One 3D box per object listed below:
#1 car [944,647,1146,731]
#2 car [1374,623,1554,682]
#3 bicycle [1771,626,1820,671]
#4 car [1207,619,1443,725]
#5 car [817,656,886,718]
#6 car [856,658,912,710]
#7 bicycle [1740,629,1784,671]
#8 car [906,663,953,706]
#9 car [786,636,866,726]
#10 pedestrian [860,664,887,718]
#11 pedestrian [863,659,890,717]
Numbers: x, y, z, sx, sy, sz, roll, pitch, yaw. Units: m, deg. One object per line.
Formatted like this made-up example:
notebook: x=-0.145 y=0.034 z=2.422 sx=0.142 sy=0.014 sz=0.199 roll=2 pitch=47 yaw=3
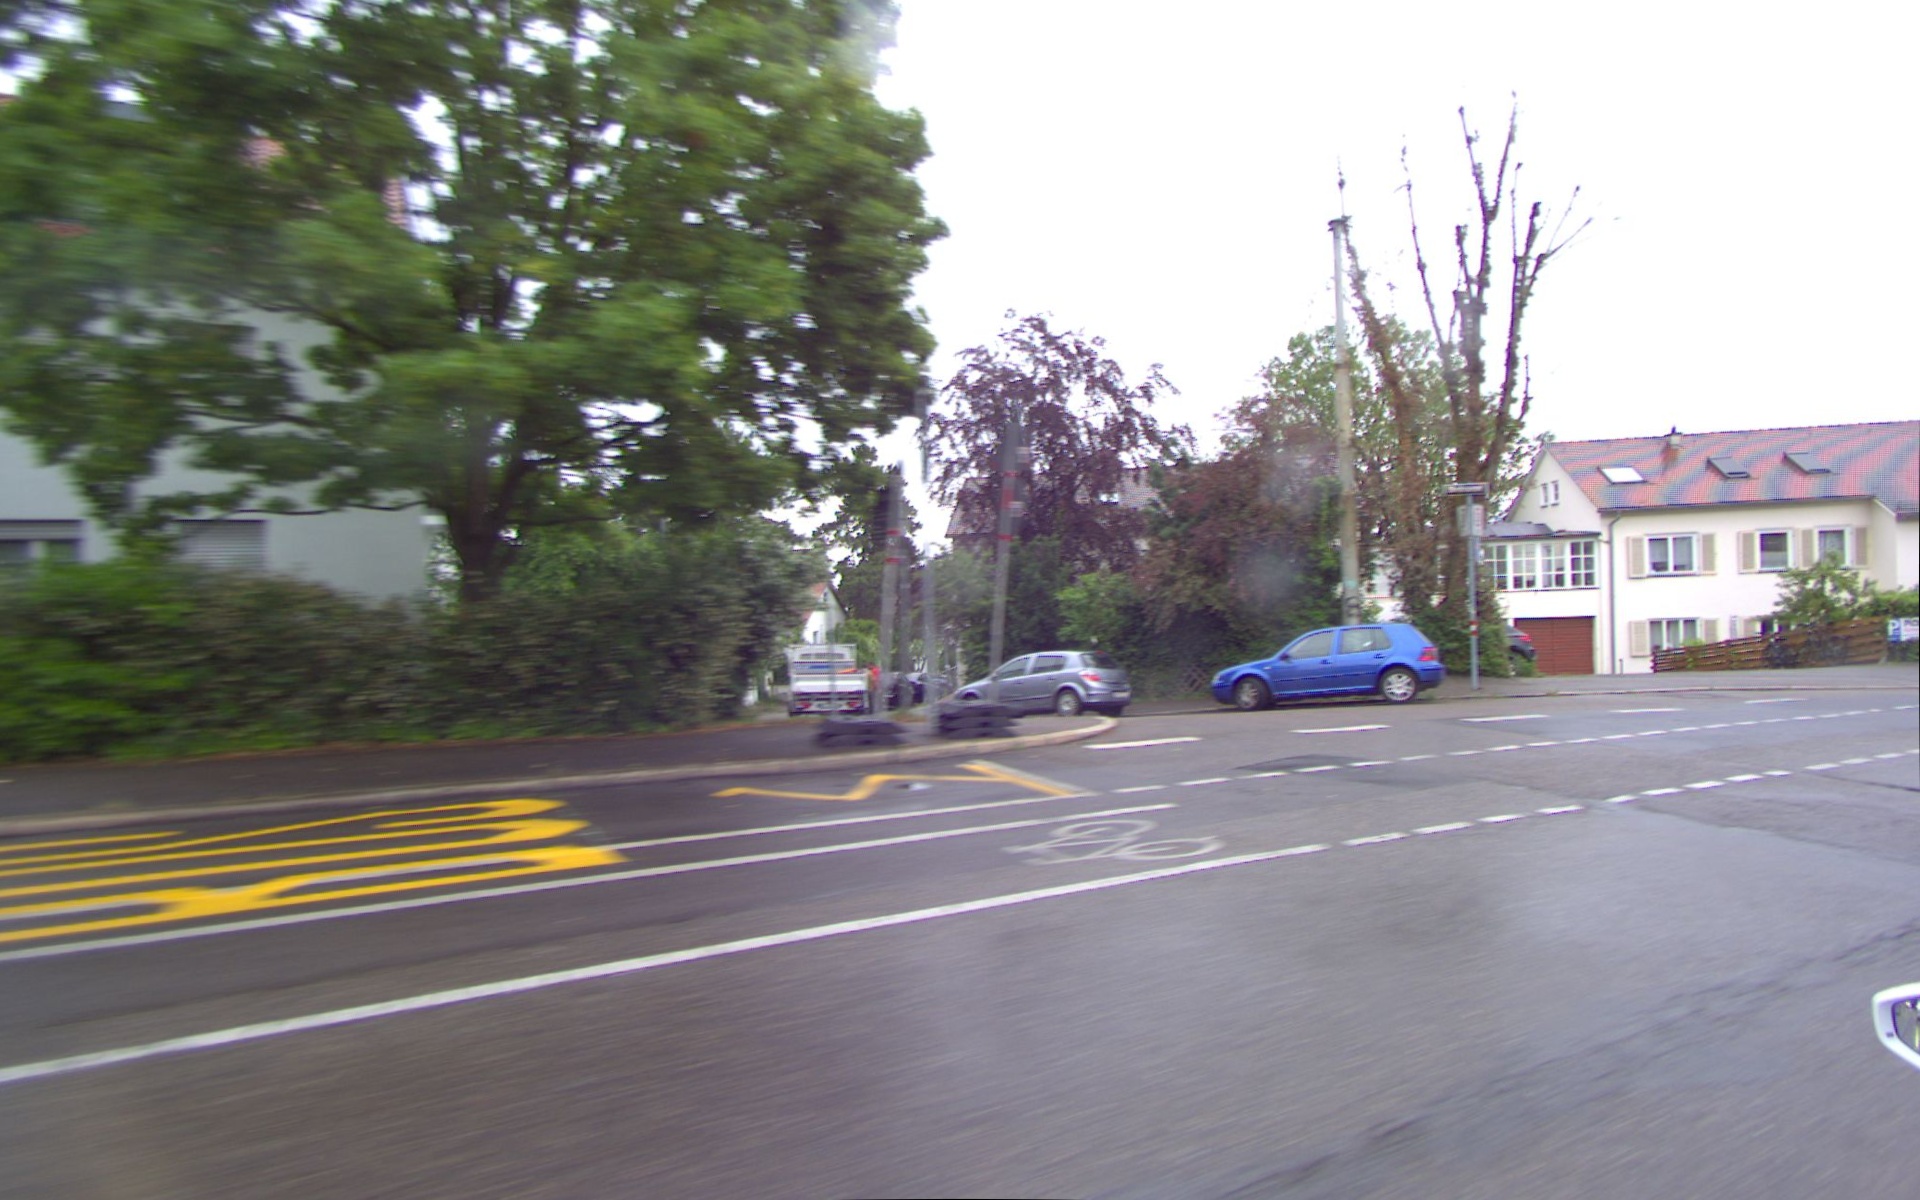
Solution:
car: x=1.756 y=1.819 z=21.480 sx=4.022 sy=1.514 sz=1.832 roll=-1 pitch=-2 yaw=42
car: x=11.888 y=1.222 z=23.880 sx=3.490 sy=1.344 sz=1.556 roll=0 pitch=-2 yaw=9
bicycle: x=20.686 y=1.215 z=24.898 sx=0.299 sy=1.048 sz=1.305 roll=2 pitch=-4 yaw=9
car: x=6.685 y=1.257 z=18.480 sx=3.867 sy=1.688 sz=1.841 roll=1 pitch=-1 yaw=24
car: x=-3.923 y=3.148 z=37.003 sx=1.960 sy=2.039 sz=4.002 roll=2 pitch=-3 yaw=1
car: x=-3.259 y=3.600 z=43.561 sx=1.960 sy=2.039 sz=4.002 roll=2 pitch=-3 yaw=1
bicycle: x=20.969 y=1.320 z=26.280 sx=0.299 sy=1.048 sz=1.329 roll=2 pitch=-4 yaw=10
car: x=-1.584 y=4.466 z=53.661 sx=1.960 sy=1.979 sz=4.003 roll=2 pitch=-1 yaw=6
car: x=-4.020 y=2.383 z=29.712 sx=2.019 sy=2.440 sz=3.993 roll=1 pitch=-4 yaw=-12
pedestrian: x=-2.645 y=2.771 z=30.655 sx=0.765 sy=1.591 sz=0.584 roll=-1 pitch=-4 yaw=-7
pedestrian: x=-2.623 y=2.743 z=31.562 sx=0.797 sy=1.778 sz=0.779 roll=-1 pitch=-3 yaw=-7
